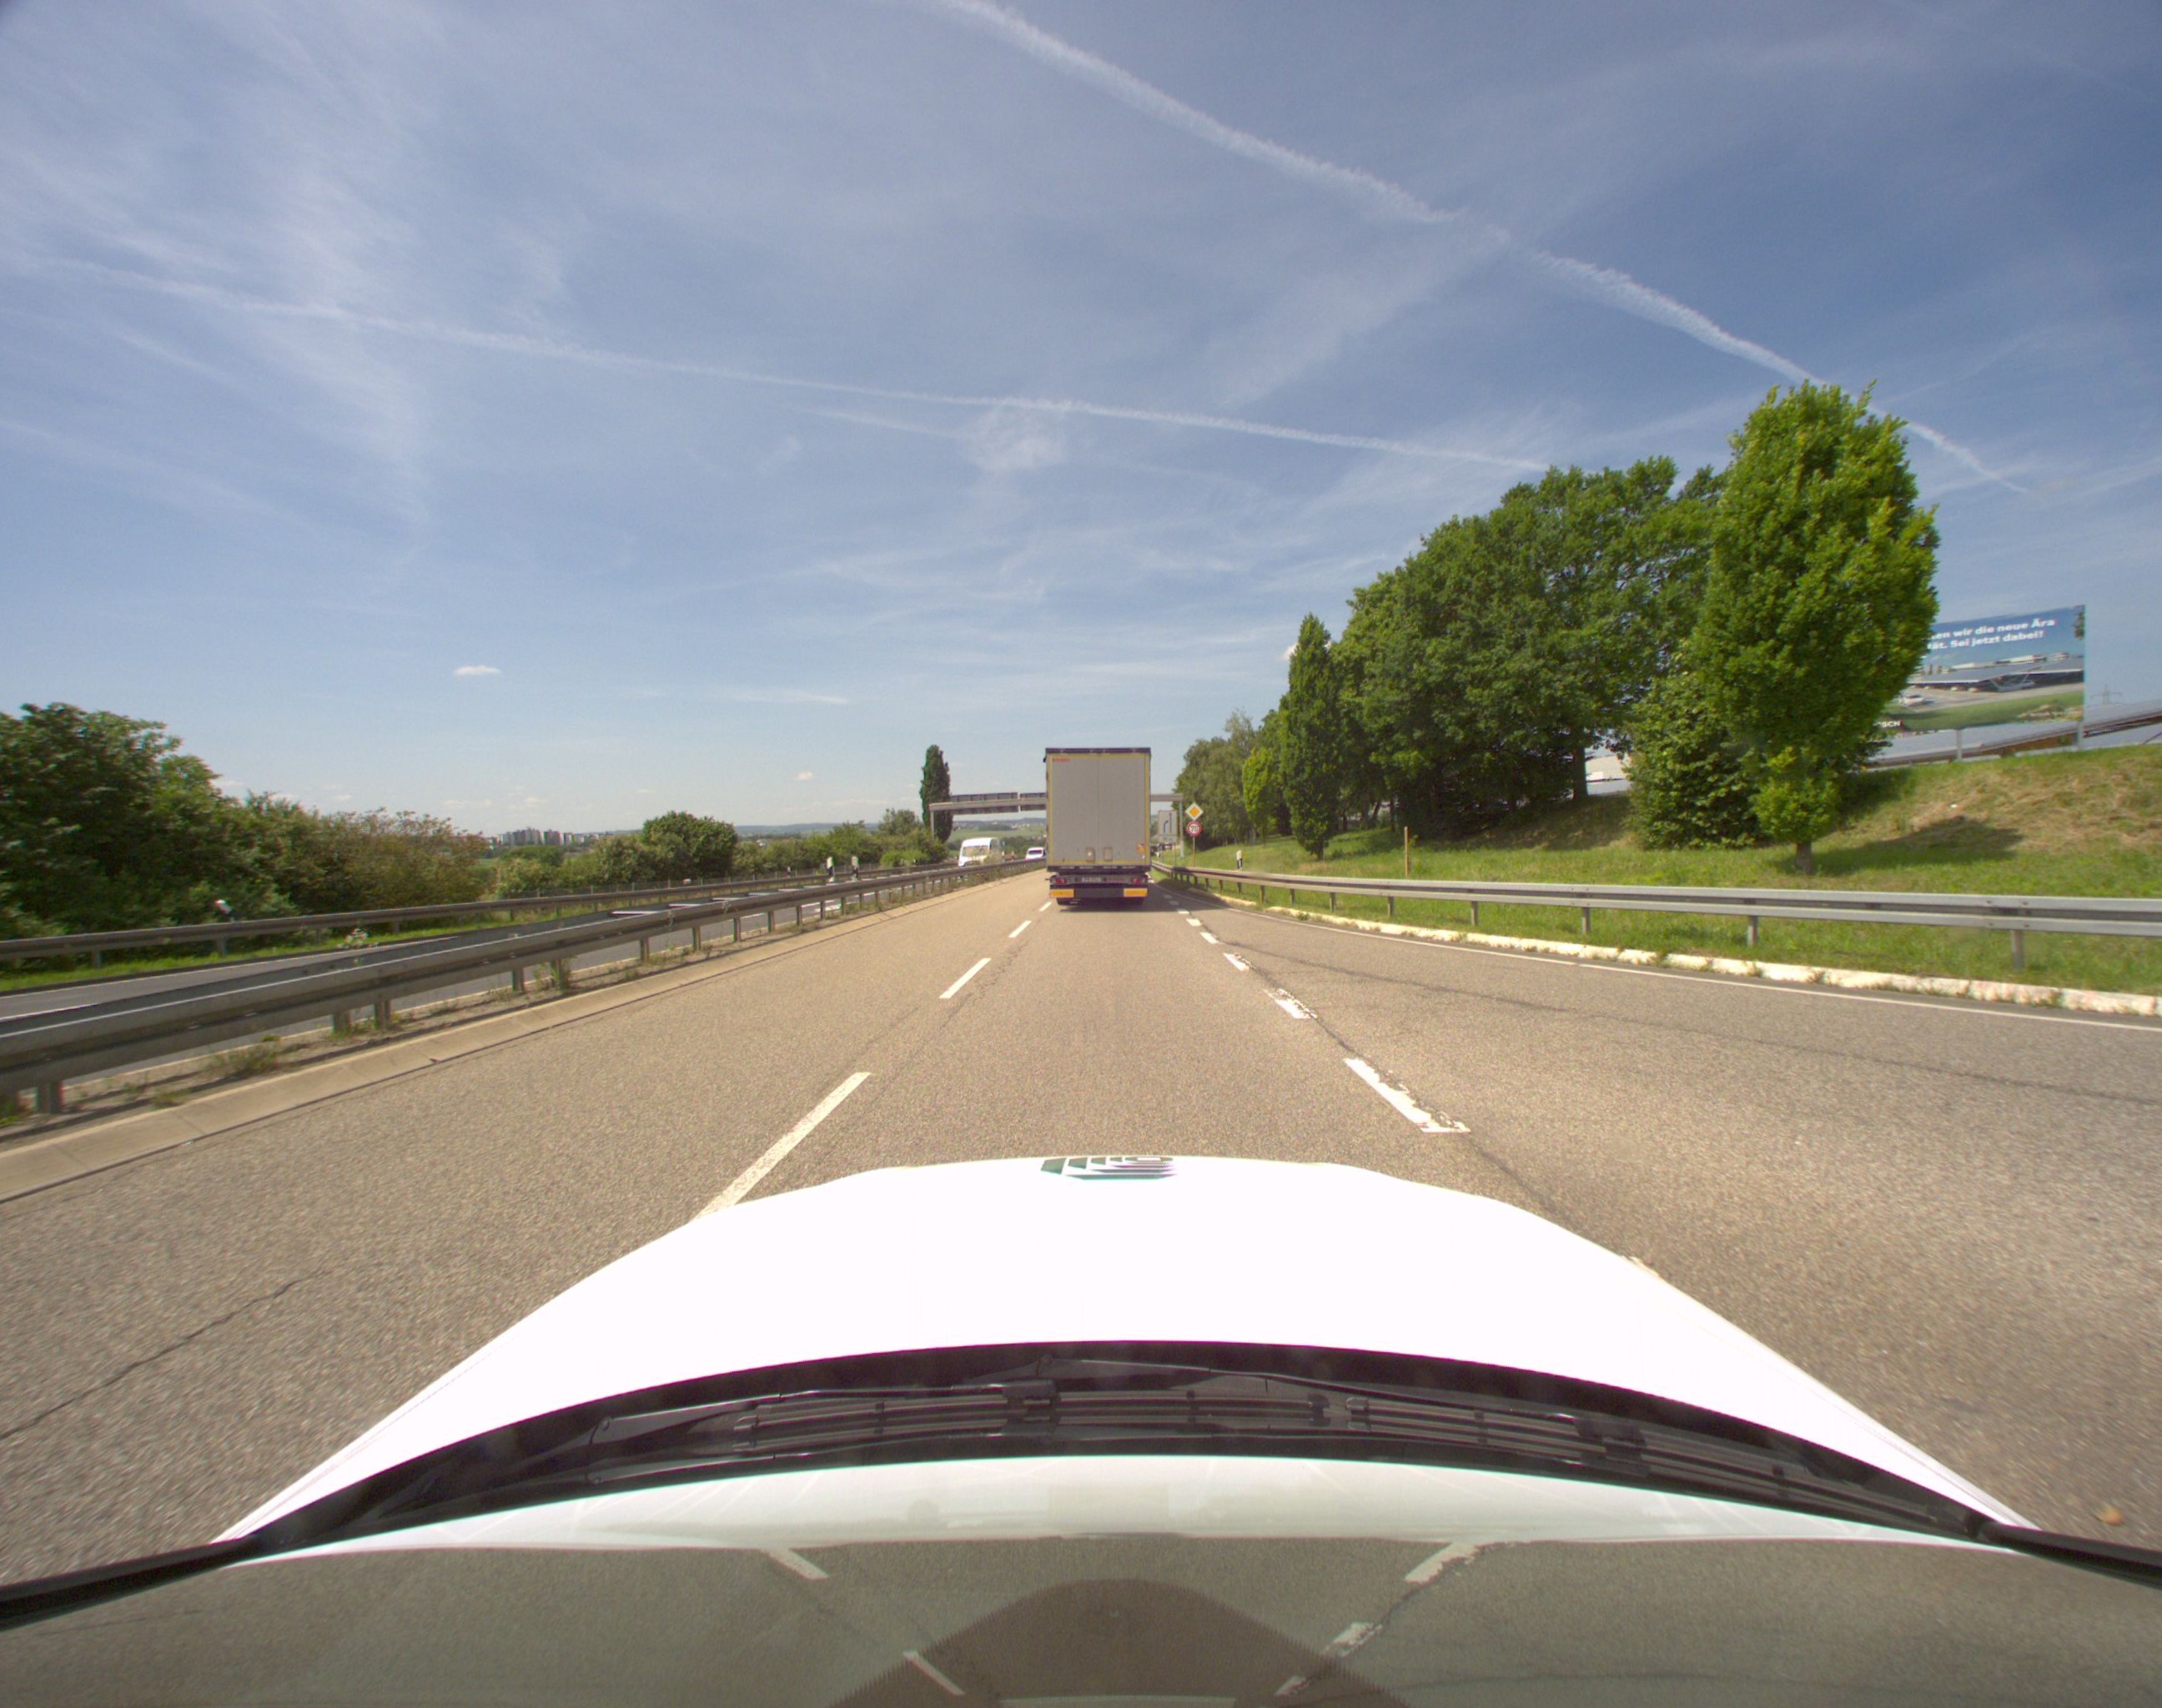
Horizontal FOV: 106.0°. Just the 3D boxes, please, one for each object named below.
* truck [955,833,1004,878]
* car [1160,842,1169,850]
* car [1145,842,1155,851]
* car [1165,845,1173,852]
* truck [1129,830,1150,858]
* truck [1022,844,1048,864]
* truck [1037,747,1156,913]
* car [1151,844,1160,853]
[{"bbox_3d":[-6.556,0.051,53.278,2.032,2.620,6.023,-4,0,2],"label":"truck"},{"bbox_3d":[19.375,-1.773,188.603,1.779,1.688,4.004,-1,0,3],"label":"car"},{"bbox_3d":[13.253,-1.478,157.283,1.779,1.688,4.004,-1,0,3],"label":"car"},{"bbox_3d":[22.387,-1.413,208.104,1.779,1.688,4.004,-1,0,3],"label":"car"},{"bbox_3d":[8.575,-1.348,118.383,2.641,3.764,10.180,-1,0,7],"label":"truck"},{"bbox_3d":[-4.470,0.035,79.659,1.841,1.749,4.542,-4,-1,4],"label":"truck"},{"bbox_3d":[0.511,-0.619,25.175,2.789,3.929,11.345,-1,0,1],"label":"truck"},{"bbox_3d":[15.574,-1.161,170.680,1.779,1.688,4.004,-1,0,3],"label":"car"}]
